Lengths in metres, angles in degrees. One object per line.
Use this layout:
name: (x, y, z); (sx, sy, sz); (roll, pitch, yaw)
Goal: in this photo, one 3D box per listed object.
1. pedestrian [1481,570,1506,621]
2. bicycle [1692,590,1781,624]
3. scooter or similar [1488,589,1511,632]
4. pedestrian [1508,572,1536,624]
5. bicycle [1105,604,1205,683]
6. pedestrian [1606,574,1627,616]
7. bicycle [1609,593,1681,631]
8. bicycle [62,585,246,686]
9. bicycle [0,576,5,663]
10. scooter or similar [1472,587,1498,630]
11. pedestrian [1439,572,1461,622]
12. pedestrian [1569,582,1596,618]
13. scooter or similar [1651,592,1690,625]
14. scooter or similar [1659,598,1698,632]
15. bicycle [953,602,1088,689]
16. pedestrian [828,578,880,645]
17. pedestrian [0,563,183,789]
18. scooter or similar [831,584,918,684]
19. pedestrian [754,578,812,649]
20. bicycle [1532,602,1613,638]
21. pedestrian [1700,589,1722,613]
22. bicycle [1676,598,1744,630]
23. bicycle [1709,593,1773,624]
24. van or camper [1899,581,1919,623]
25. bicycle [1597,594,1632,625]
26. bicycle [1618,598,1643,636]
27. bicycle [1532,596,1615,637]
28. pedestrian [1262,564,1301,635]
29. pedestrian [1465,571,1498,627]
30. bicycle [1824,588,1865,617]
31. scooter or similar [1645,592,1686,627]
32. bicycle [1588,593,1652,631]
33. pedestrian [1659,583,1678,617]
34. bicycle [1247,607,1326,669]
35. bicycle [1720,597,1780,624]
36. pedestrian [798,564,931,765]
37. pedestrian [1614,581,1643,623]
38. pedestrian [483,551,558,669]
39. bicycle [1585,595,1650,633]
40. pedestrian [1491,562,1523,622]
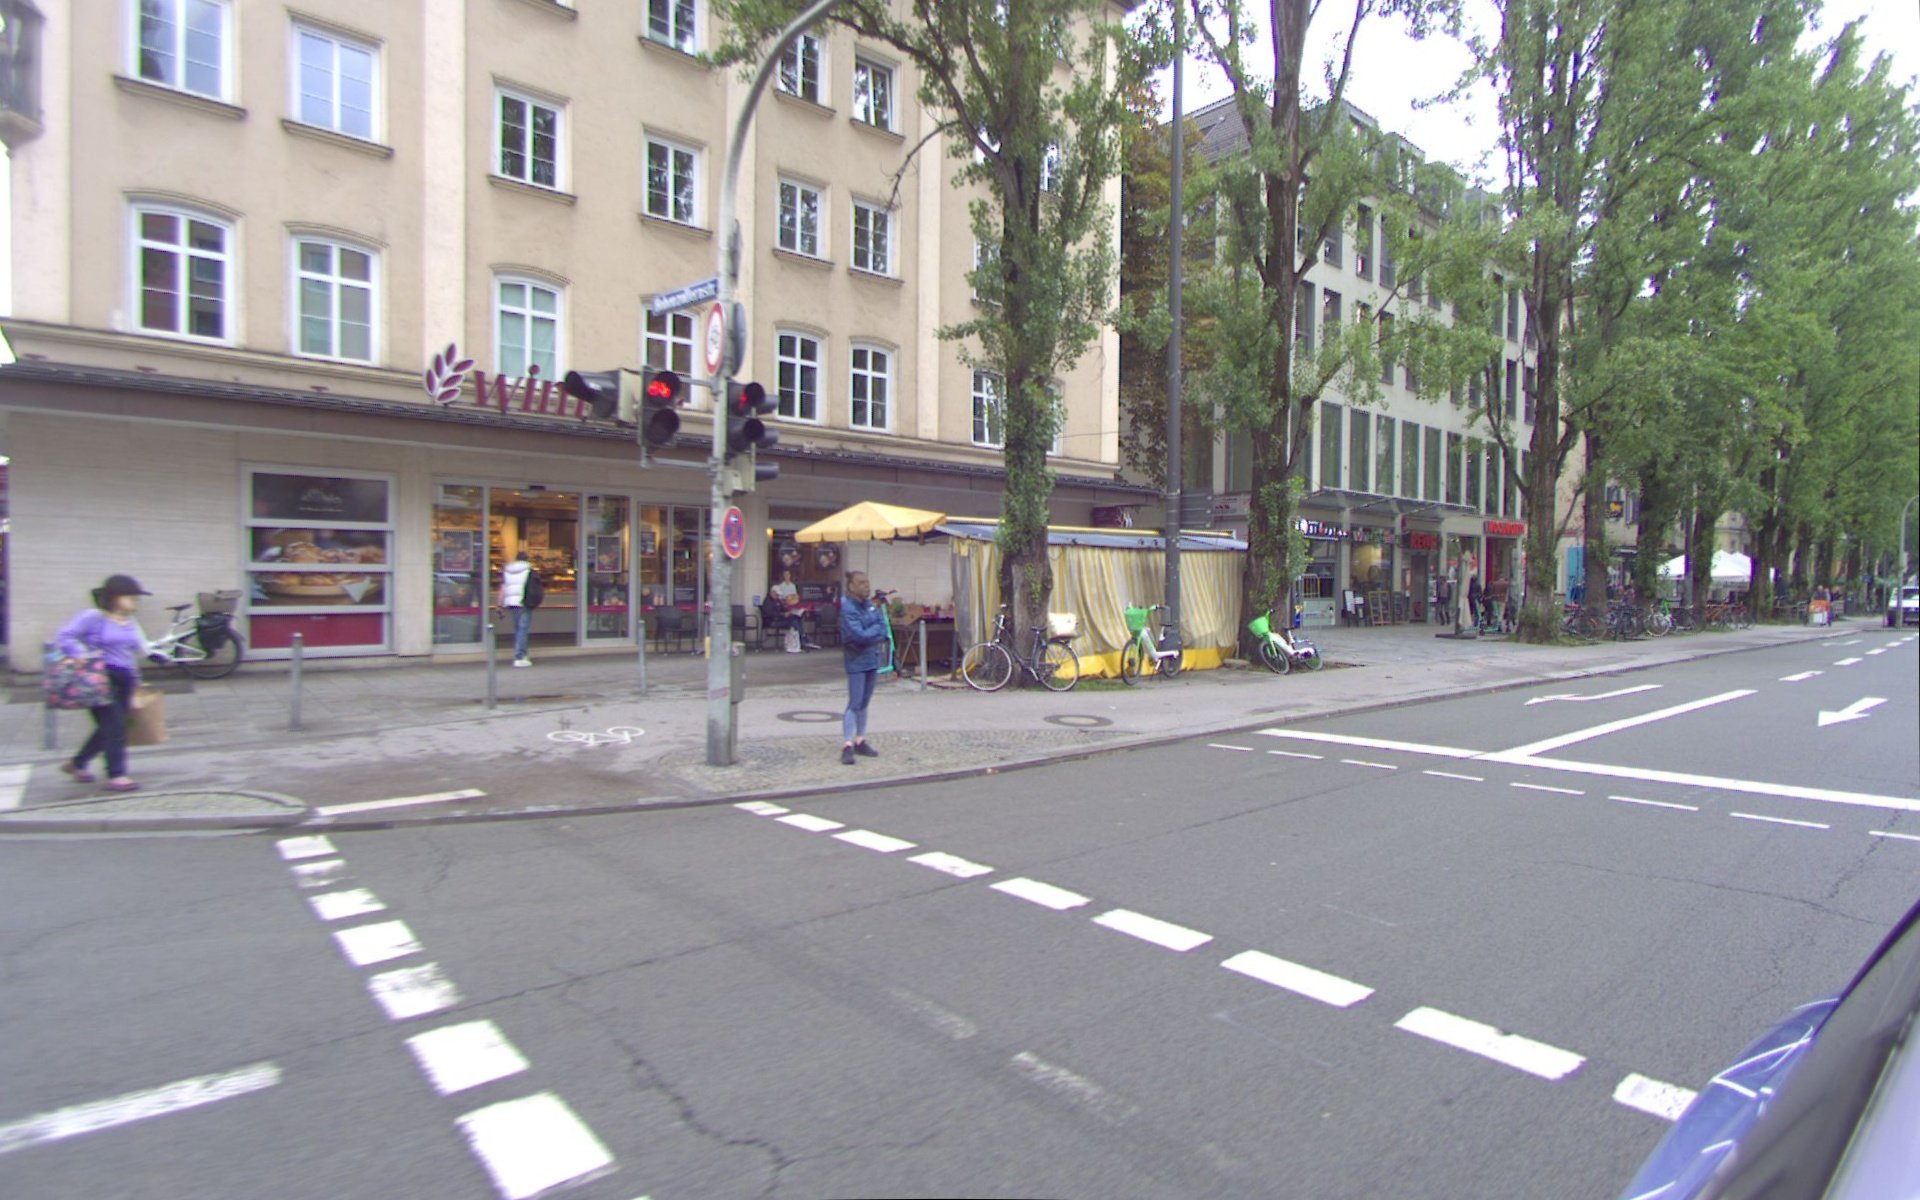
pedestrian: (19.396, -0.170, 36.797); (0.662, 1.807, 0.566); (0, 1, -40)
bicycle: (29.938, 0.250, 39.052); (0.948, 1.230, 2.576); (0, 2, -40)
scooter or similar: (16.418, 0.297, 30.783); (1.018, 1.289, 0.247); (0, 1, -41)
pedestrian: (20.059, -0.084, 36.132); (0.662, 1.807, 0.658); (0, 1, -40)
bicycle: (2.880, 0.610, 14.844); (1.740, 1.061, 0.509); (-1, 1, -43)
pedestrian: (27.715, -0.223, 42.730); (0.684, 1.764, 0.566); (0, 0, -38)
bicycle: (22.007, 0.376, 32.528); (1.864, 1.149, 0.335); (2, 1, 41)
bicycle: (-10.115, 0.417, 12.752); (1.781, 1.185, 0.435); (-1, 0, -43)
bicycle: (-14.216, 0.288, 14.246); (0.982, 1.268, 2.975); (-1, 0, -41)
scooter or similar: (16.140, 0.259, 31.110); (1.018, 1.289, 0.330); (0, 1, -41)
pedestrian: (17.964, -0.115, 37.103); (0.631, 1.790, 0.547); (0, 0, -42)
pedestrian: (28.404, -0.001, 46.179); (0.998, 1.624, 0.764); (0, 0, -41)
scooter or similar: (26.168, 0.315, 37.280); (1.220, 1.184, 0.307); (-1, 0, -2)
scooter or similar: (26.197, 0.544, 36.904); (1.221, 1.184, 0.286); (-1, 0, 1)
bicycle: (0.823, 0.592, 13.503); (1.774, 1.084, 0.406); (-1, -4, -25)
pedestrian: (-2.070, 0.208, 19.804); (0.687, 1.280, 0.777); (0, 1, -40)
pedestrian: (-6.253, 0.513, 7.322); (0.608, 1.536, 0.769); (-1, 2, 3)
scooter or similar: (-1.116, 0.418, 13.384); (0.405, 1.259, 1.356); (1, 1, 32)
pedestrian: (-3.277, 0.237, 18.711); (0.687, 1.213, 0.871); (0, 5, -40)
bicycle: (17.592, 0.559, 29.087); (1.991, 0.957, 0.282); (1, 1, 34)
pedestrian: (38.693, 0.027, 52.152); (1.004, 1.231, 0.668); (0, 0, -38)
bicycle: (26.042, 0.465, 35.183); (0.385, 1.022, 1.847); (0, 2, -32)
bicycle: (30.930, 0.328, 40.076); (0.674, 1.141, 1.901); (0, 1, -40)
van or camper: (45.694, 0.063, 47.585); (4.485, 1.929, 1.794); (0, 1, -41)
bicycle: (23.175, 0.328, 35.819); (1.968, 1.076, 0.393); (0, 2, -38)
bicycle: (19.832, 0.487, 29.931); (0.432, 1.074, 1.977); (1, 1, 38)
bicycle: (17.435, 0.467, 28.777); (1.991, 1.096, 0.282); (1, 1, 33)
pedestrian: (8.450, -0.031, 26.606); (0.805, 1.837, 0.972); (1, 1, 27)
pedestrian: (17.579, -0.047, 34.126); (0.889, 1.874, 0.658); (0, 1, -39)
bicycle: (45.896, 0.112, 52.552); (0.819, 1.429, 2.580); (0, 0, 22)
scooter or similar: (24.604, 0.317, 35.312); (0.395, 1.184, 1.247); (-1, 1, -12)
bicycle: (20.891, 0.366, 32.067); (1.657, 1.121, 0.391); (2, 1, 38)
pedestrian: (35.219, 0.012, 50.300); (0.680, 1.685, 0.667); (0, 0, -42)
bicycle: (5.645, 0.625, 17.460); (1.740, 0.987, 0.509); (0, 1, -43)
bicycle: (31.670, 0.400, 40.587); (0.494, 1.022, 1.843); (0, 1, -40)
pedestrian: (-0.830, 0.513, 8.791); (0.766, 1.630, 0.850); (2, 1, 45)
pedestrian: (26.070, 0.061, 39.487); (0.780, 1.608, 0.711); (0, 3, -43)
pedestrian: (-6.664, 0.119, 15.352); (0.845, 1.723, 0.666); (-3, 3, -40)
bicycle: (20.627, 0.426, 31.773); (1.669, 1.131, 0.282); (2, 1, 38)
pedestrian: (18.257, -0.268, 33.767); (0.709, 1.996, 0.658); (1, 1, -38)
